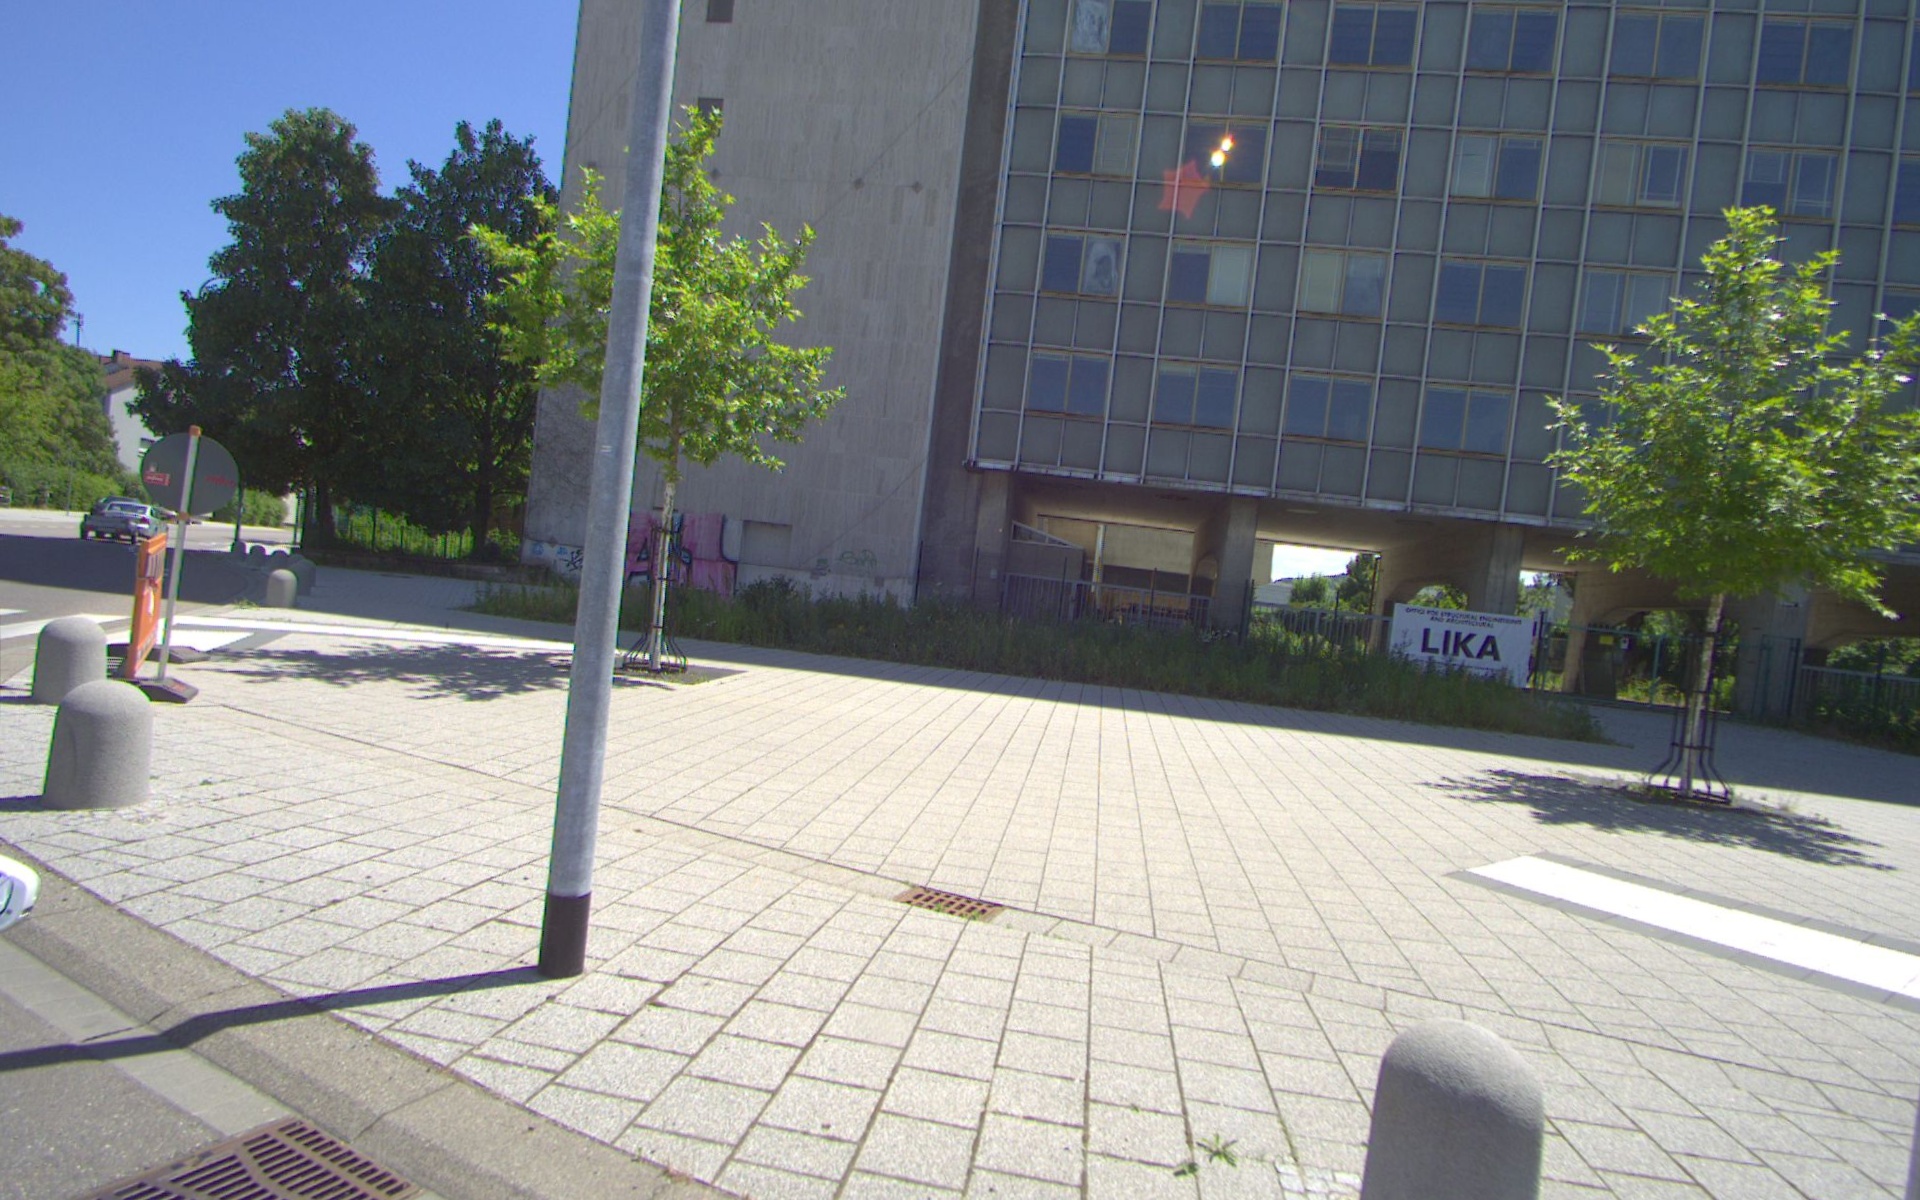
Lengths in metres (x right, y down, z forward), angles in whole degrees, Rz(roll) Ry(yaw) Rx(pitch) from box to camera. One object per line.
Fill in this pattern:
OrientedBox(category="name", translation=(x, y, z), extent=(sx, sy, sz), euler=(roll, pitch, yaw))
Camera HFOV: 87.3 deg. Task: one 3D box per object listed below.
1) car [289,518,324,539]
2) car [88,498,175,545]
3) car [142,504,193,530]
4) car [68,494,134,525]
OrientedBox(category="car", translation=(-52.709, -5.765, 81.196), extent=(1.721, 1.455, 3.687), euler=(5, 1, -24))
OrientedBox(category="car", translation=(-30.764, -2.900, 37.465), extent=(1.723, 1.455, 3.683), euler=(5, 1, -28))
OrientedBox(category="car", translation=(-53.040, -5.539, 67.350), extent=(1.721, 1.455, 3.688), euler=(5, 1, -24))
OrientedBox(category="car", translation=(-47.766, -5.016, 56.046), extent=(1.721, 1.455, 3.688), euler=(5, 1, -24))
